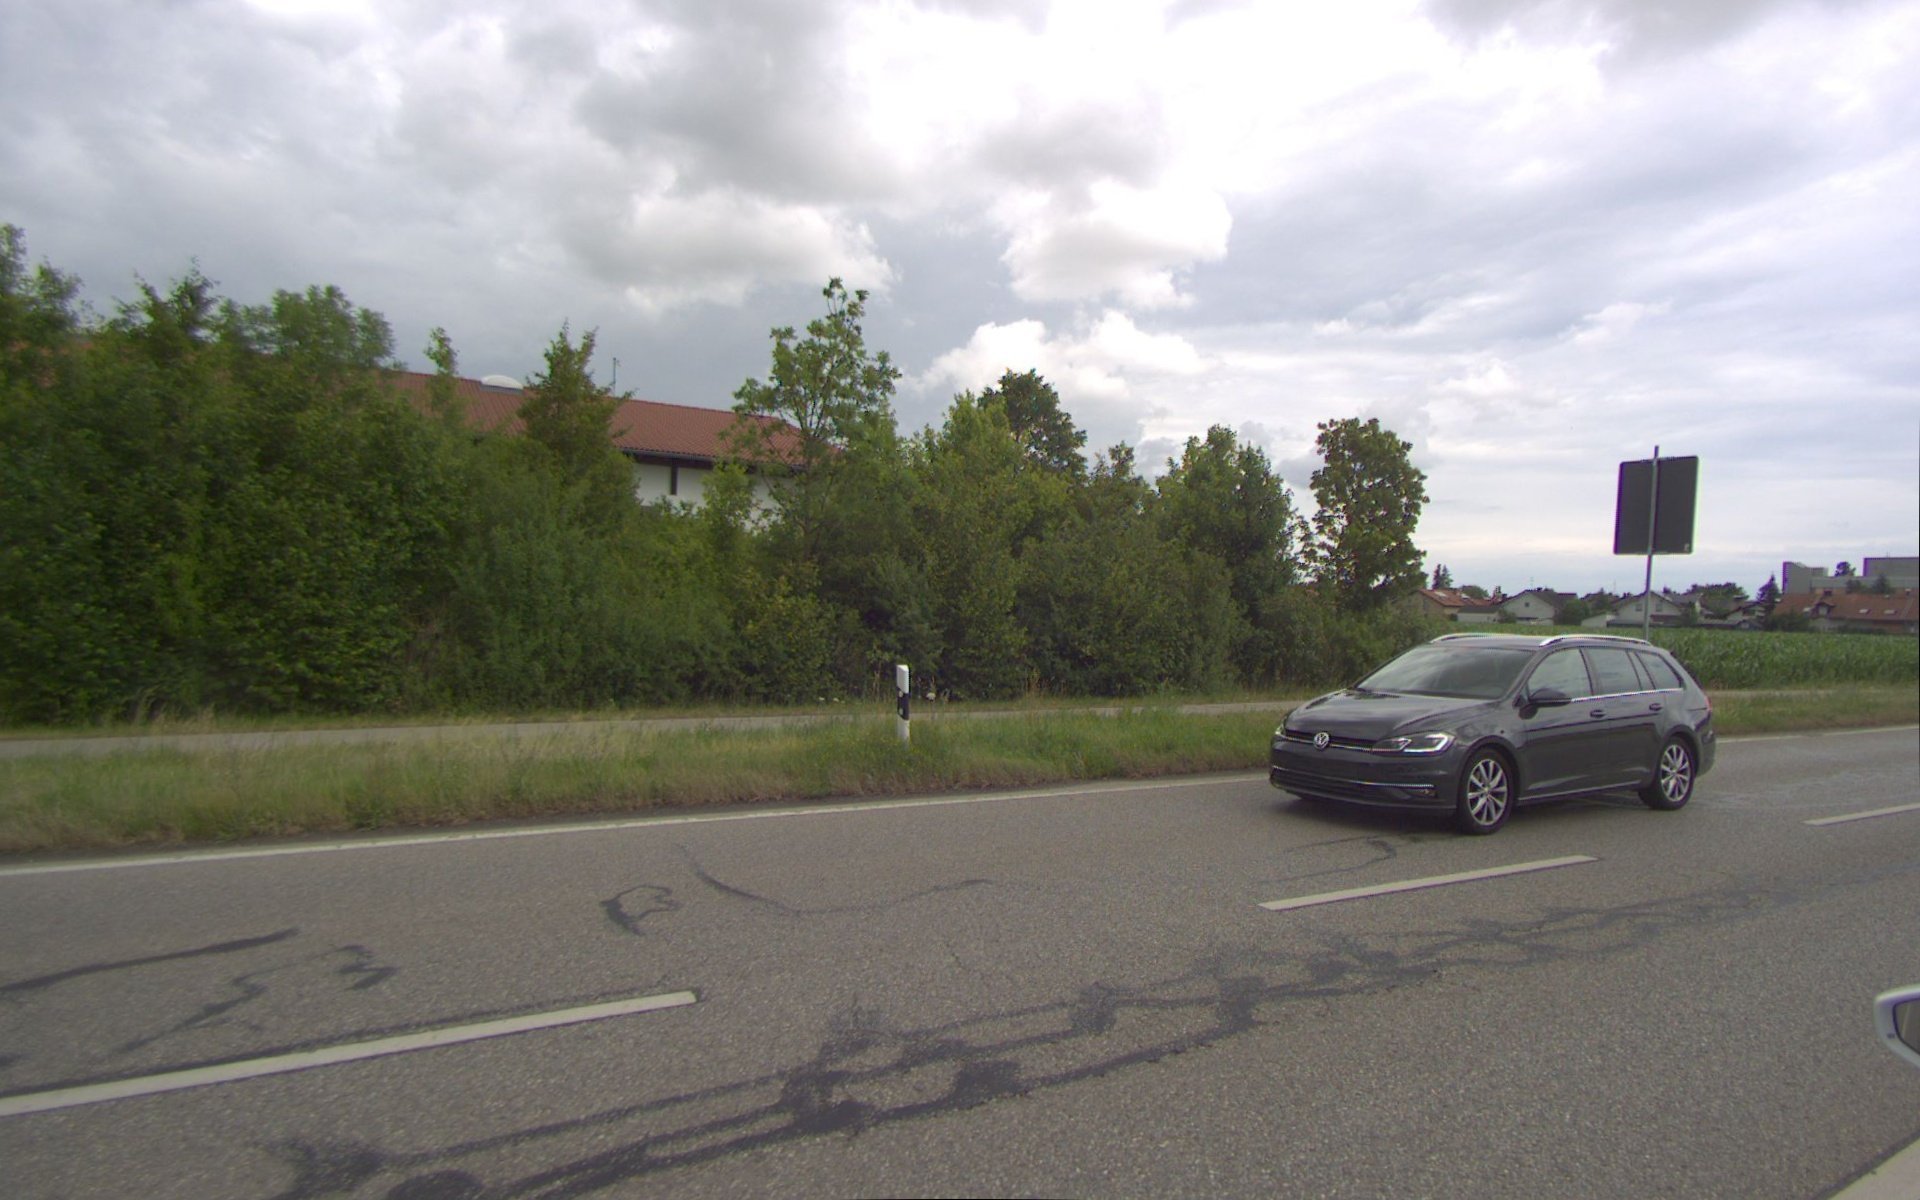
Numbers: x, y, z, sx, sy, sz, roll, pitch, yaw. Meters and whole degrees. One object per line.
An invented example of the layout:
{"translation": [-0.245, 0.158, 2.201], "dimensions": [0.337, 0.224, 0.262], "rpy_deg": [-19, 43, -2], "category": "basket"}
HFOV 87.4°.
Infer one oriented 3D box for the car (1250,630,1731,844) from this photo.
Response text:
{"translation": [4.643, 1.014, 8.638], "dimensions": [4.252, 1.448, 1.661], "rpy_deg": [2, -2, -30], "category": "car"}
